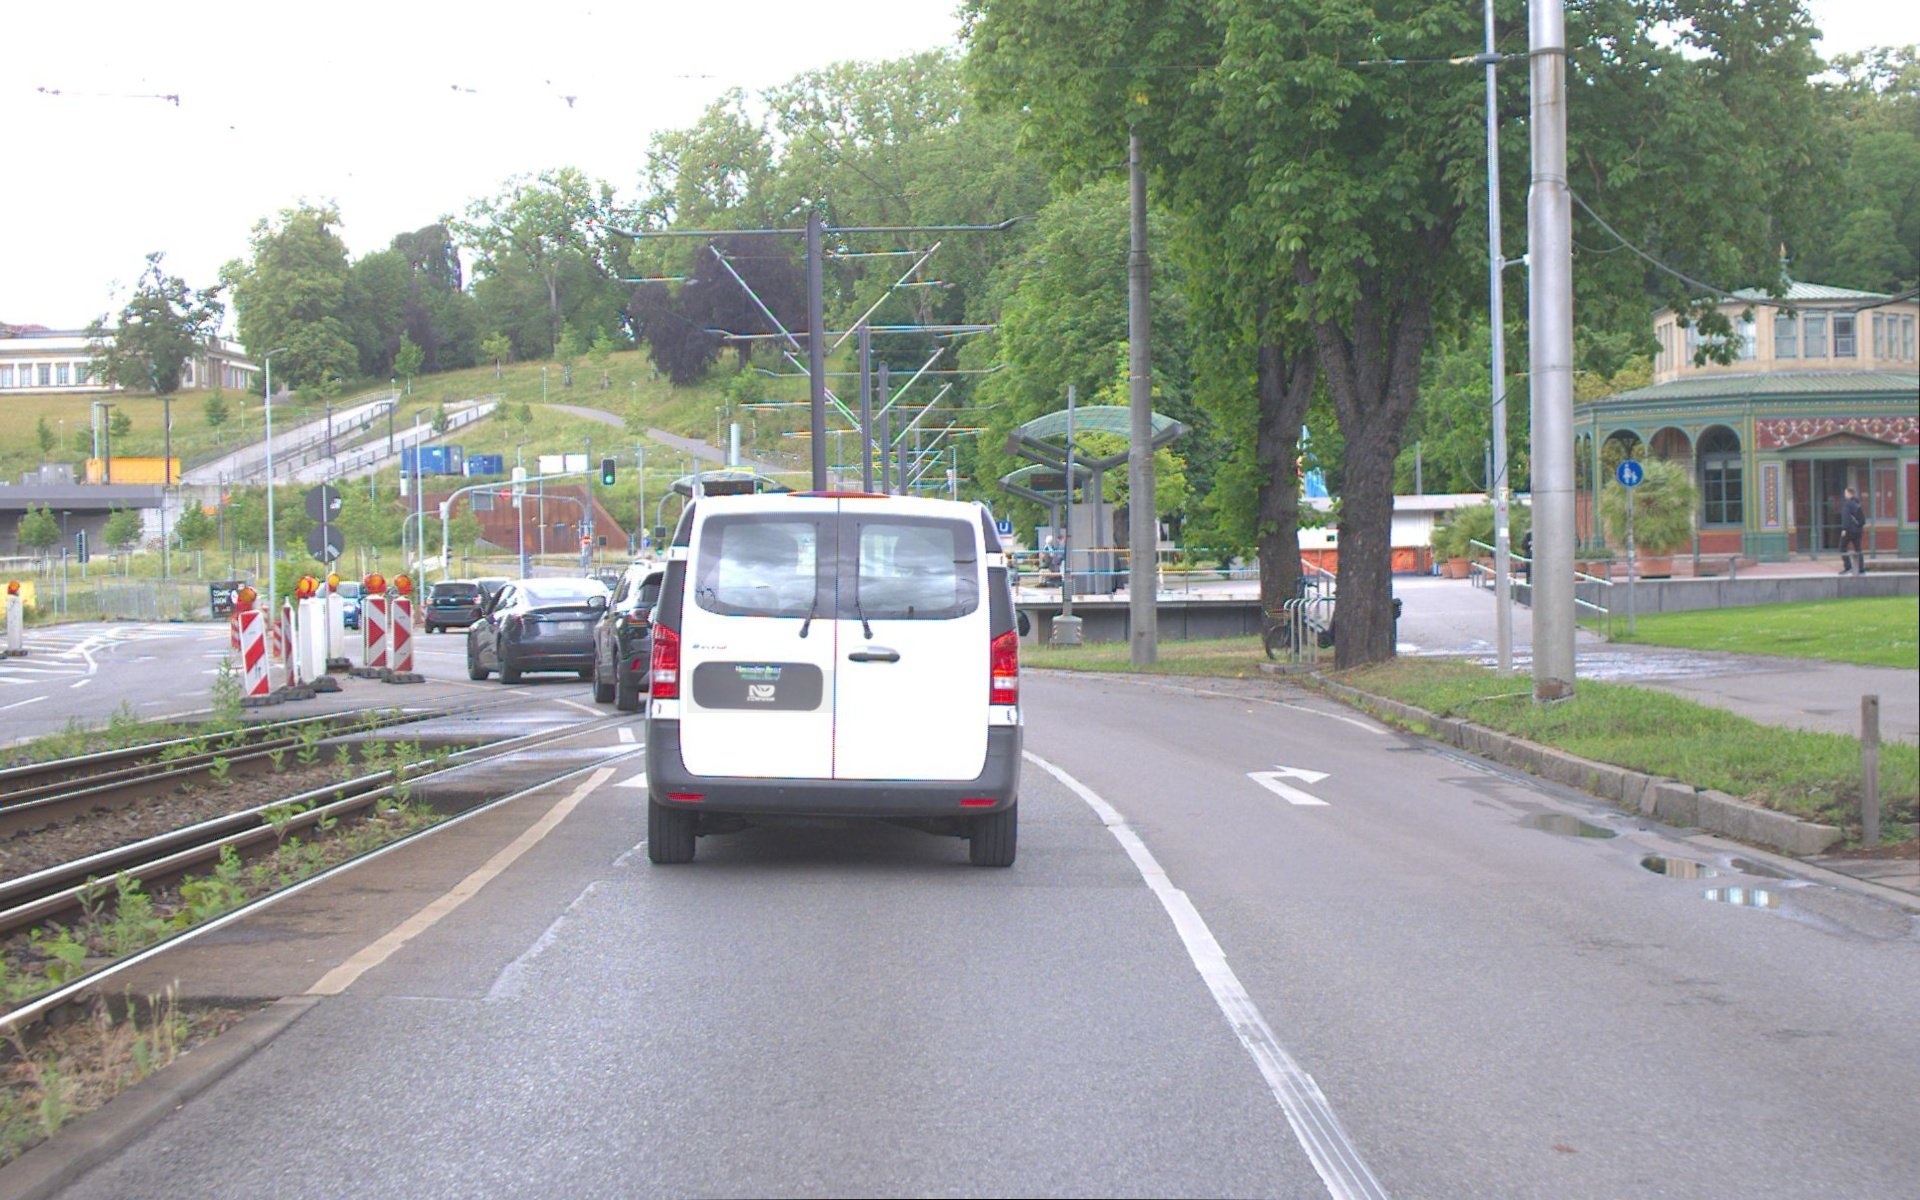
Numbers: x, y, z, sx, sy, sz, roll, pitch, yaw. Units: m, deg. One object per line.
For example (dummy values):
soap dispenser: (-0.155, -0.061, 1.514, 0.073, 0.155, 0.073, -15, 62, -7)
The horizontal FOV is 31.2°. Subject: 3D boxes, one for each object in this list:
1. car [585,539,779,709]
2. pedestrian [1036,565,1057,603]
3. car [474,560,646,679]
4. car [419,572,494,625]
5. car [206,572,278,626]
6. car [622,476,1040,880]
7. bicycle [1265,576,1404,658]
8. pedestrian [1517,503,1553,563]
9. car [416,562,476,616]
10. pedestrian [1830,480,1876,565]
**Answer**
car: (-3.041, 0.251, 36.983, 1.838, 1.723, 4.063, 0, 0, -8)
pedestrian: (2.751, -0.517, 109.382, 0.657, 1.187, 0.675, 1, 0, 2)
car: (-5.606, 0.259, 47.806, 1.838, 1.577, 4.063, 0, 0, -14)
car: (-14.195, -0.044, 96.724, 1.838, 1.462, 4.063, 0, 0, -12)
car: (-20.986, -0.050, 100.601, 1.694, 1.456, 3.914, -2, 1, -7)
car: (-0.631, 0.373, 18.487, 1.959, 1.897, 4.461, 0, 0, -1)
bicycle: (5.469, 0.245, 50.294, 1.991, 1.154, 0.741, -1, 0, 5)
pedestrian: (11.678, -1.365, 69.799, 0.548, 1.197, 0.669, 1, 0, -6)
car: (-19.624, -0.406, 131.452, 1.934, 2.007, 4.000, 1, 0, -4)
pedestrian: (19.482, -1.685, 75.029, 0.950, 1.831, 0.549, 1, 0, 15)
